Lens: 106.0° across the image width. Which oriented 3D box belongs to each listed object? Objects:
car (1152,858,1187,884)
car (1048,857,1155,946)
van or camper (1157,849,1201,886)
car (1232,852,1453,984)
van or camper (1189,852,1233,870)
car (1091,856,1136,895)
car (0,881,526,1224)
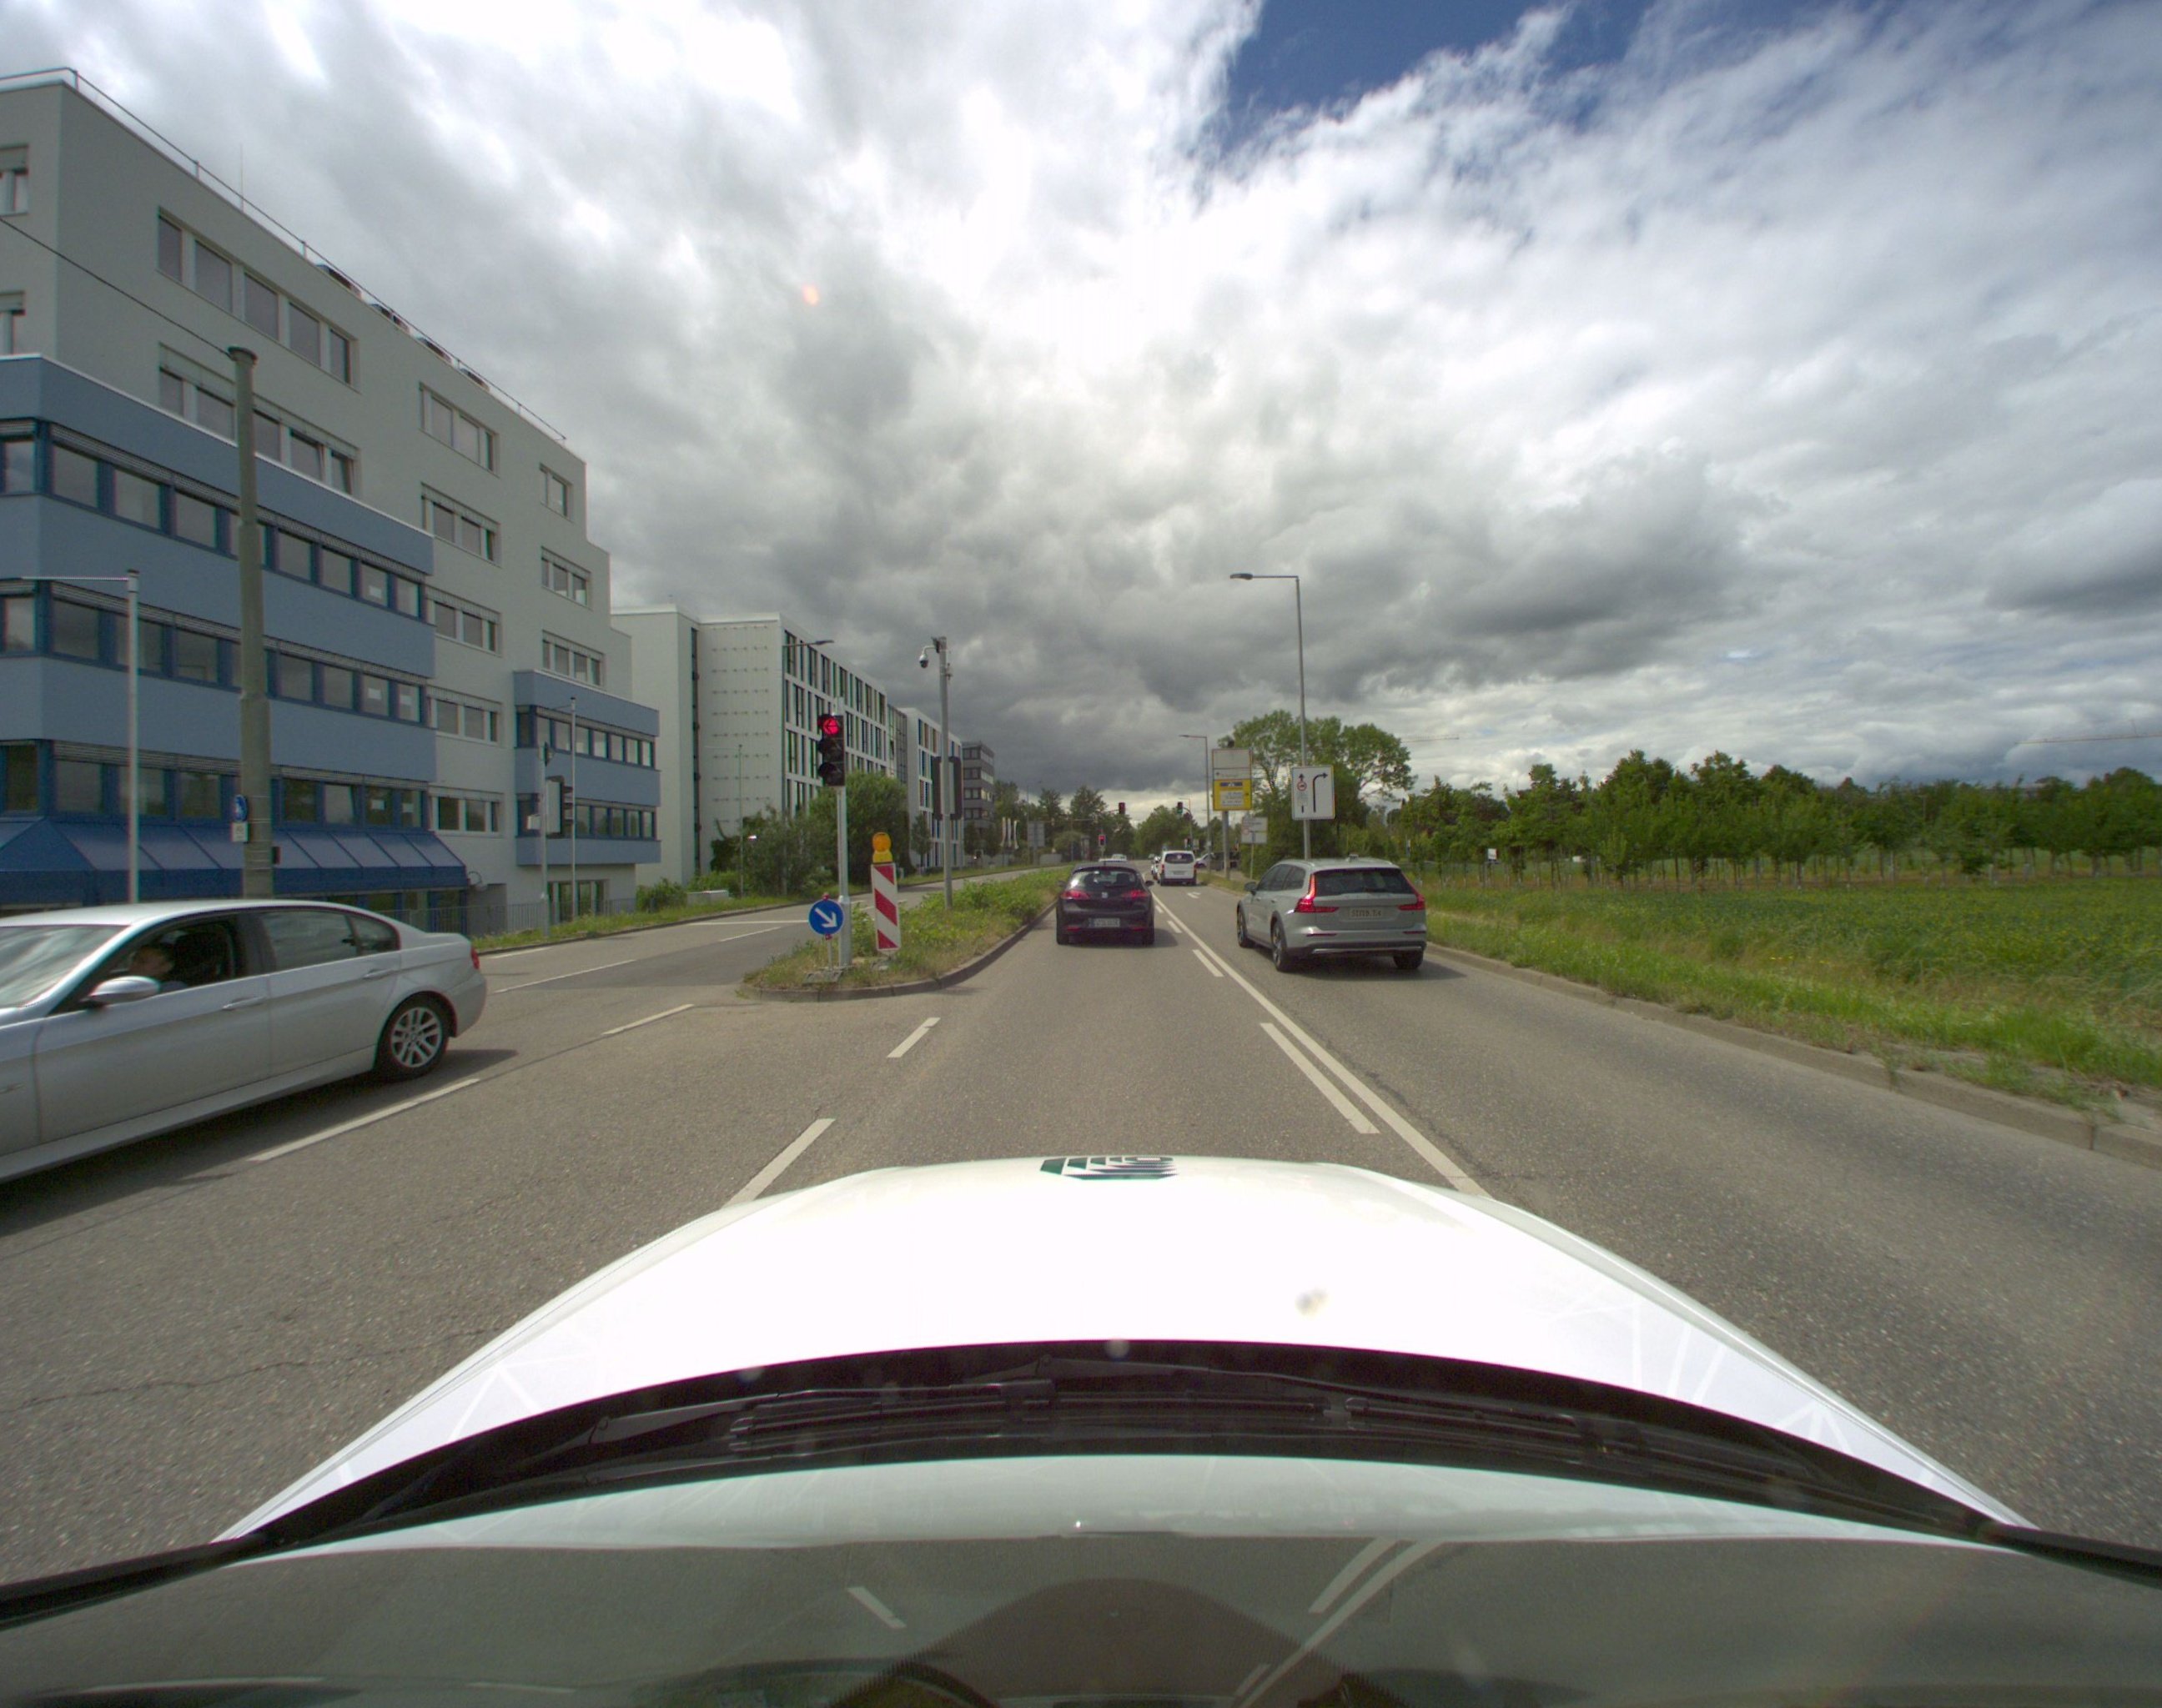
[{"bbox_3d":[5.855,1.109,54.393,1.986,1.632,4.002,-1,0,2],"label":"car"},{"bbox_3d":[0.472,0.796,15.332,1.765,1.452,3.586,0,0,4],"label":"car"},{"bbox_3d":[5.232,0.720,44.014,1.985,1.860,4.947,-1,0,3],"label":"van or camper"},{"bbox_3d":[3.506,0.760,11.878,1.856,1.518,4.447,-2,0,1],"label":"car"},{"bbox_3d":[15.082,0.779,94.436,4.787,2.014,1.999,-1,-1,-2],"label":"van or camper"},{"bbox_3d":[1.362,0.867,34.248,1.766,1.491,3.584,-2,0,2],"label":"car"},{"bbox_3d":[-5.765,0.976,4.832,1.785,1.447,4.424,-1,0,2],"label":"car"}]
